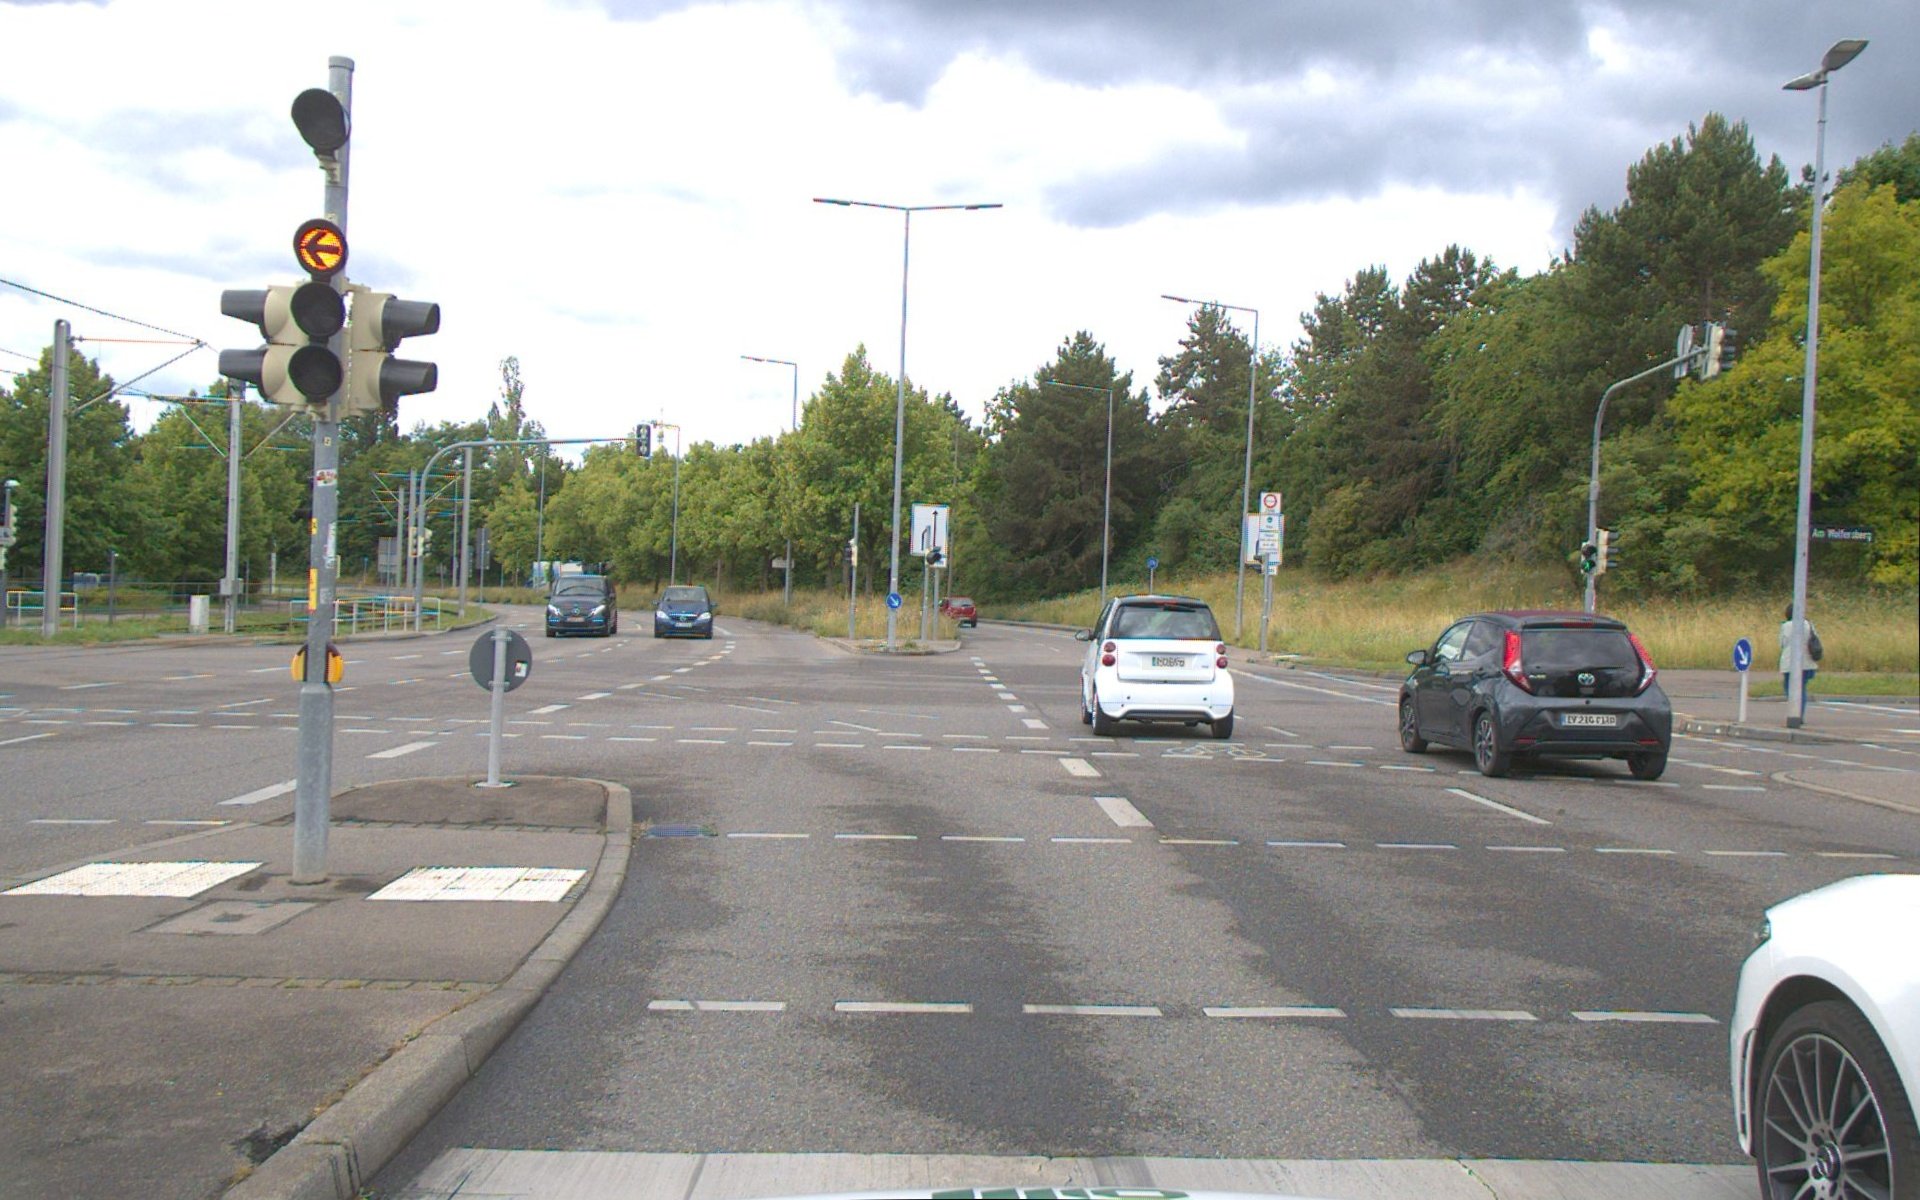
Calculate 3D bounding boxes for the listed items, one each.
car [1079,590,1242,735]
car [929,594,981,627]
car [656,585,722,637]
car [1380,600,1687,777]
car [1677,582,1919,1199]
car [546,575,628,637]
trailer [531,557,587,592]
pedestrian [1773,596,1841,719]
[{"bbox_3d":[2.268,0.681,19.270,1.559,1.543,2.766,1,0,0],"label":"car"},{"bbox_3d":[-0.268,0.516,85.313,1.755,1.631,3.872,1,0,-15],"label":"car"},{"bbox_3d":[-8.382,0.329,51.369,1.702,1.535,3.656,1,0,-5],"label":"car"},{"bbox_3d":[5.381,0.767,16.027,1.580,1.479,3.881,1,0,-1],"label":"car"},{"bbox_3d":[2.815,0.739,2.118,1.806,1.533,4.530,1,0,0],"label":"car"},{"bbox_3d":[-11.662,0.180,51.966,1.851,1.844,5.086,0,0,-5],"label":"car"},{"bbox_3d":[-35.826,-2.254,147.667,2.726,3.065,6.007,1,-1,-37],"label":"trailer"},{"bbox_3d":[11.883,0.799,23.219,0.630,1.691,0.714,1,-1,6],"label":"pedestrian"}]
